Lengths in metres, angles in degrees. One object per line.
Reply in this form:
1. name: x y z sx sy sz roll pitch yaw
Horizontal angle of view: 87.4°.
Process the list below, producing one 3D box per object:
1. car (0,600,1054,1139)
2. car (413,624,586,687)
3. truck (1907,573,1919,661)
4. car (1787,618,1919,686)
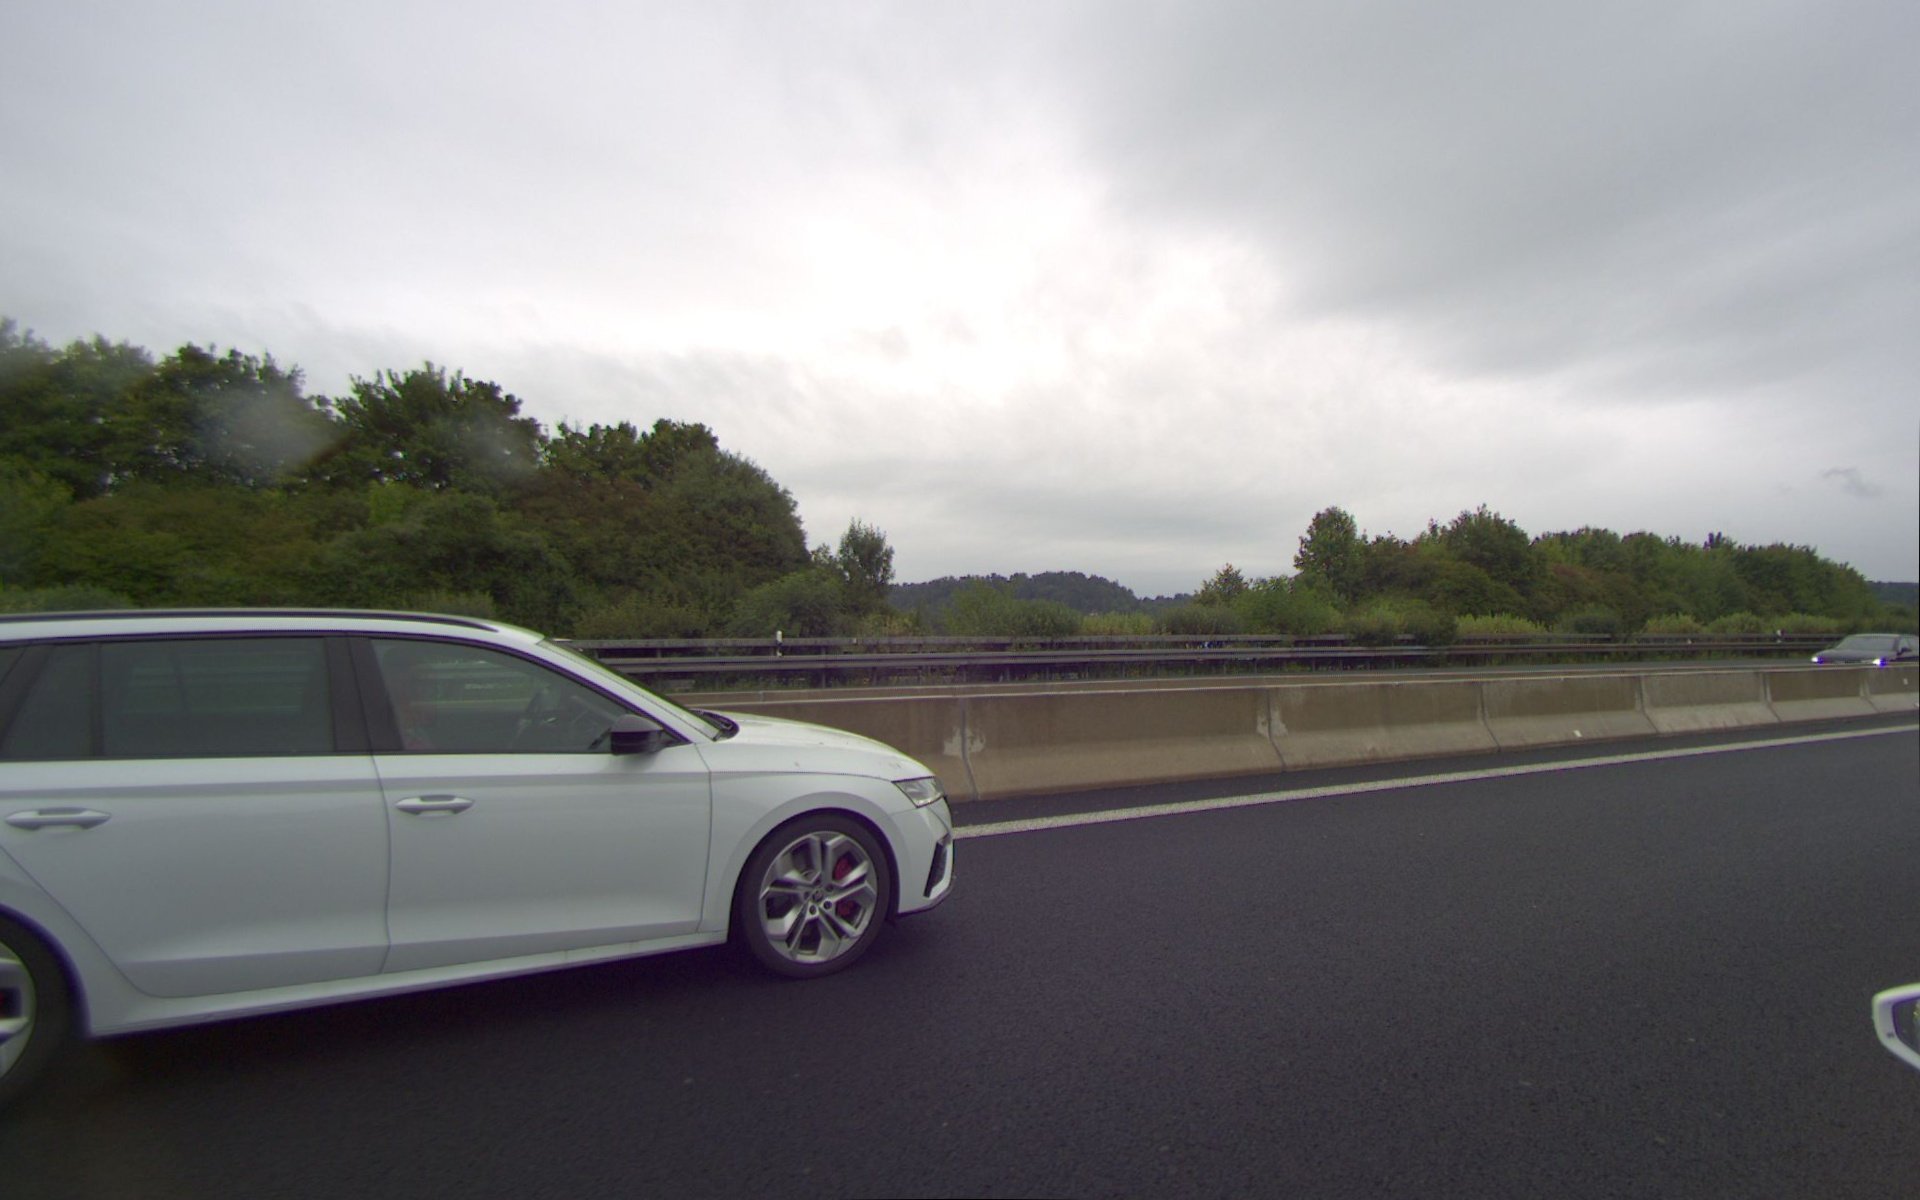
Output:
1. car: -2.071 0.777 4.116 4.720 1.475 1.810 2 -1 -30
2. car: -11.986 1.416 26.203 3.953 1.528 1.696 2 -1 -30
3. truck: 44.335 0.796 43.695 5.870 3.798 2.876 2 -1 -28
4. car: 26.839 1.521 29.992 4.489 1.900 1.886 2 -1 -30
